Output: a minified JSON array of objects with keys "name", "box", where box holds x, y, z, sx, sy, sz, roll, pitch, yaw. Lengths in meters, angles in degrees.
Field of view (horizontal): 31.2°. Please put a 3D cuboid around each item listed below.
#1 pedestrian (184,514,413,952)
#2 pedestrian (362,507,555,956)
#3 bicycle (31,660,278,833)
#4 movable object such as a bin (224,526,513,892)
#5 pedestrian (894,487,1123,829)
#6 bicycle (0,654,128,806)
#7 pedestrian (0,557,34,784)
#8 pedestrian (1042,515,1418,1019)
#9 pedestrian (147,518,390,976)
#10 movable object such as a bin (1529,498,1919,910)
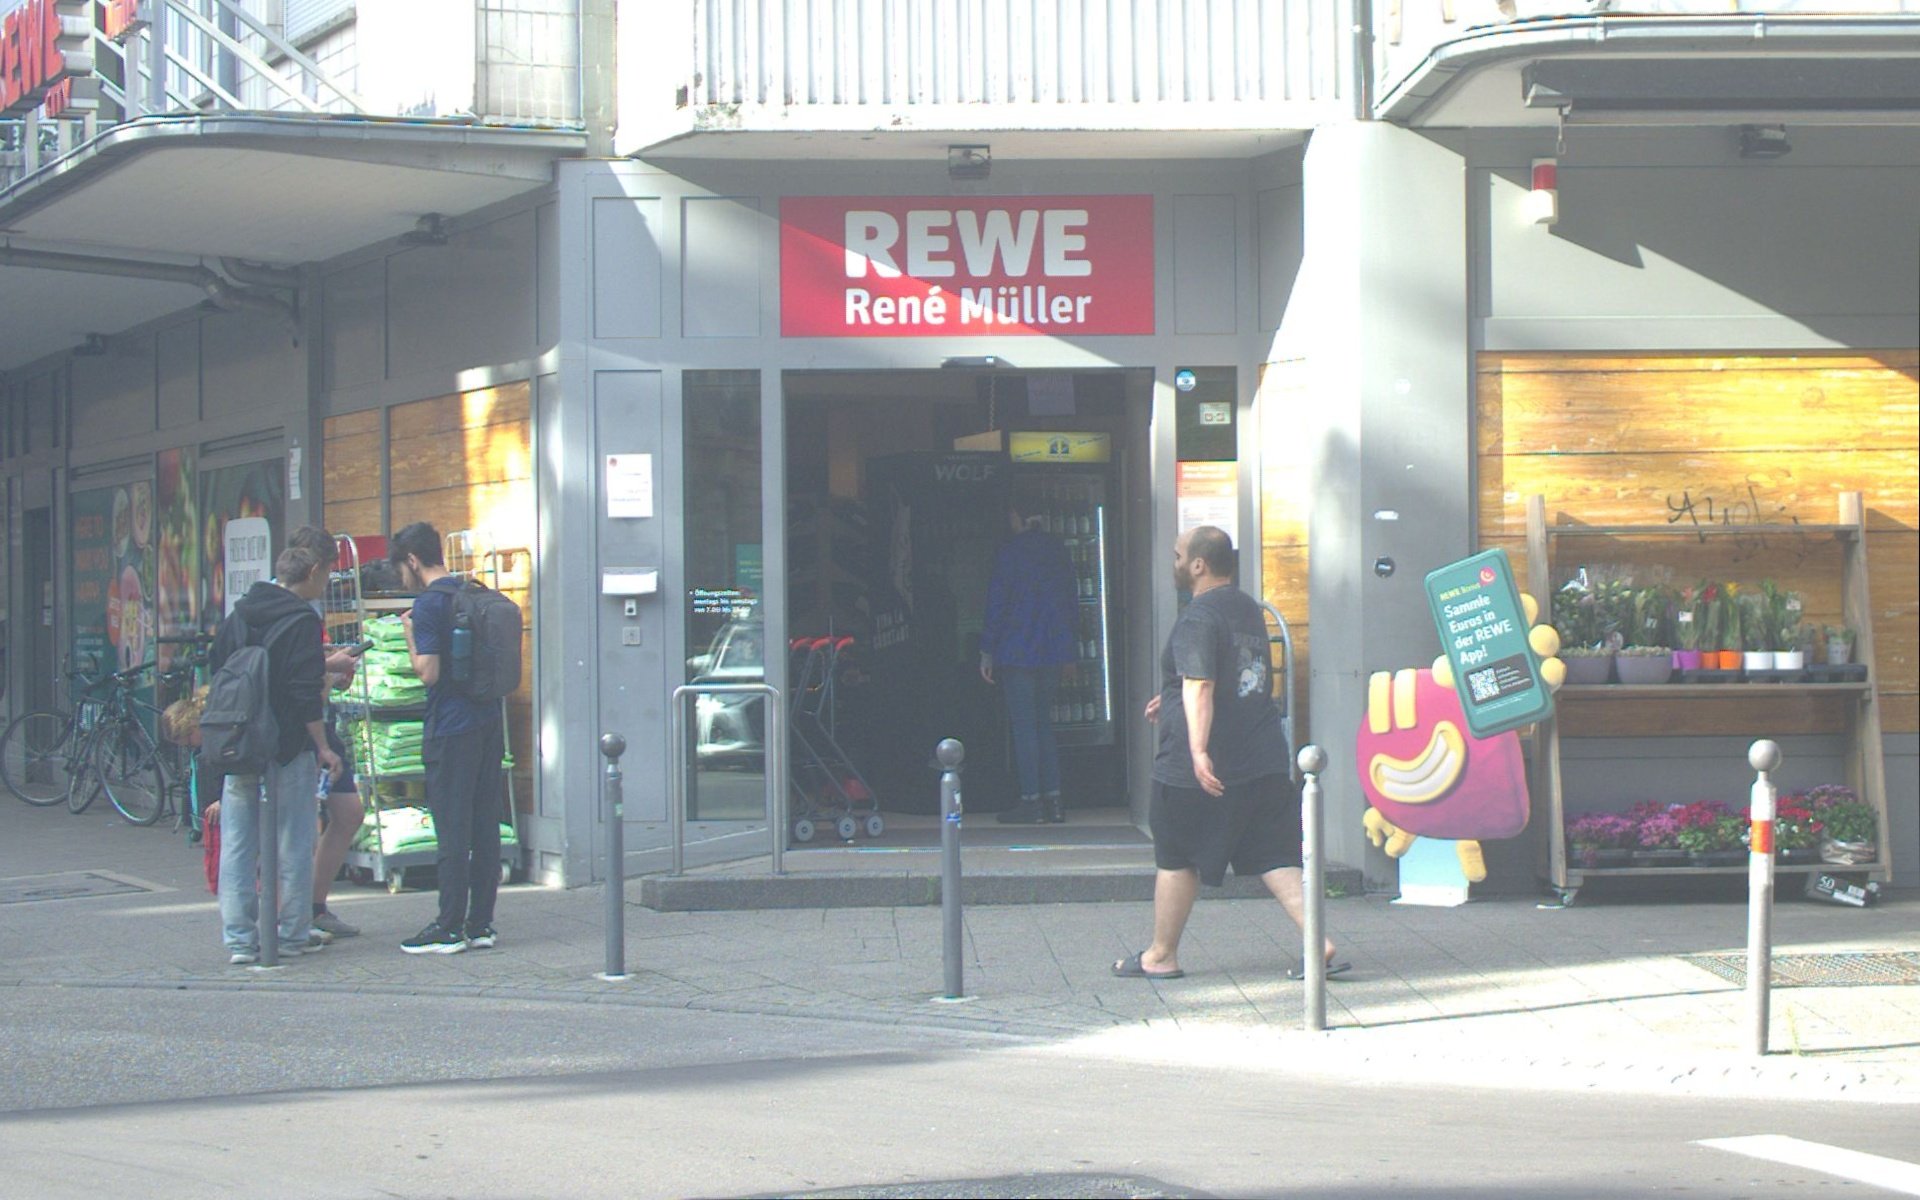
[{"name":"pedestrian","box":[-2.812,0.552,14.663,0.712,1.791,0.632,-2,2,7]},{"name":"pedestrian","box":[-2.097,0.524,14.339,0.653,1.791,0.659,-3,2,-13]},{"name":"bicycle","box":[-5.127,0.920,21.829,1.733,1.039,0.676,-2,-1,44]},{"name":"movable object such as a bin","box":[-3.062,0.519,17.569,0.779,1.738,2.423,0,0,-26]},{"name":"pedestrian","box":[0.254,0.293,18.138,0.763,1.747,0.930,0,0,-44]},{"name":"bicycle","box":[-6.727,0.920,24.909,0.741,1.011,1.783,-3,1,-34]},{"name":"pedestrian","box":[-7.710,0.554,26.773,0.714,1.741,0.817,-3,1,-28]},{"name":"pedestrian","box":[0.992,0.583,12.738,0.849,1.741,1.049,-3,2,-35]},{"name":"pedestrian","box":[-2.808,0.585,14.015,0.631,1.791,0.714,-2,2,15]},{"name":"movable object such as a bin","box":[3.335,0.434,15.063,1.544,1.748,0.691,0,2,-4]}]
